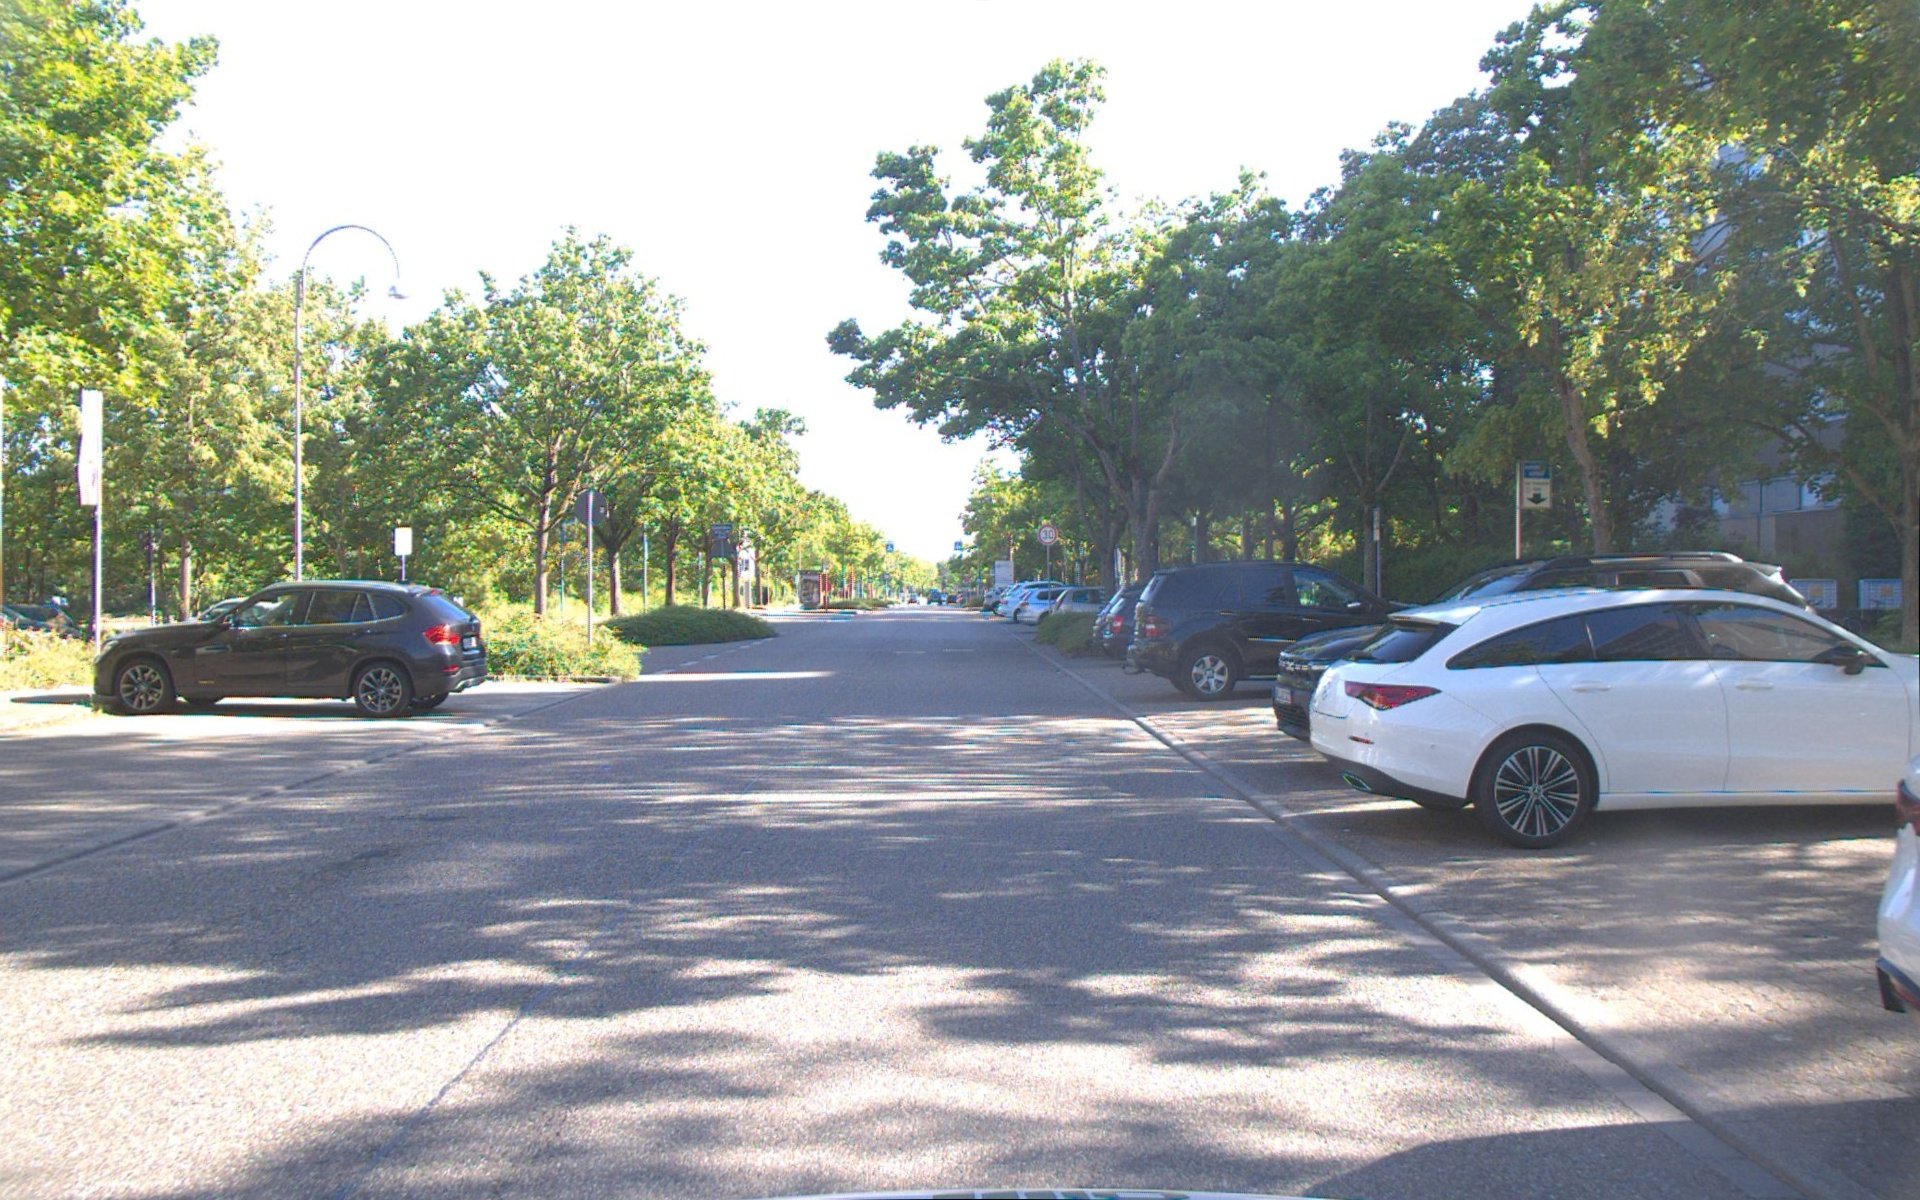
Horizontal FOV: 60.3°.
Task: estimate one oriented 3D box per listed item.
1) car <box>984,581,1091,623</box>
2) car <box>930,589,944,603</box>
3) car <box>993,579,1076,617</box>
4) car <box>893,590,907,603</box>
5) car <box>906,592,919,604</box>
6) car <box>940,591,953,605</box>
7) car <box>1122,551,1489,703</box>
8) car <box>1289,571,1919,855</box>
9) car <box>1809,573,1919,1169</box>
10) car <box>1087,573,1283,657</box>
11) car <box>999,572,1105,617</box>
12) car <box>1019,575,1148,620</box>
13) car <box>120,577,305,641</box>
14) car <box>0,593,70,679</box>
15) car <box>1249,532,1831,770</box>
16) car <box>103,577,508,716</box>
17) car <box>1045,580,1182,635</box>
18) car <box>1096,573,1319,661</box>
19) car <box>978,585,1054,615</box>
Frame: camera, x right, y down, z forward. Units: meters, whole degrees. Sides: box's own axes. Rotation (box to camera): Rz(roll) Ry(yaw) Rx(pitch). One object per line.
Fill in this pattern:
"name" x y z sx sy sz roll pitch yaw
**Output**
"car" 3.179 0.084 68.620 4.256 1.515 1.737 -3 0 -3
"car" -3.295 -0.555 235.828 1.953 2.049 4.000 0 0 0
"car" 3.402 -0.104 76.191 3.615 1.549 1.650 -3 1 -3
"car" -9.004 -0.554 248.148 1.953 1.833 4.000 0 0 0
"car" -6.905 -0.315 239.671 1.791 1.806 3.739 0 0 0
"car" -2.008 -0.292 246.014 1.953 2.049 4.000 0 0 -1
"car" 4.554 0.338 22.318 4.493 1.810 2.000 -2 0 -1
"car" 4.413 0.641 10.229 4.354 1.572 1.816 0 0 -4
"car" 4.784 0.655 4.175 4.339 1.620 1.835 -2 0 -4
"car" 4.620 0.298 34.287 3.734 1.525 1.700 -3 0 -4
"car" 3.952 -0.233 71.331 4.347 1.676 1.815 -3 1 -3
"car" 4.062 -0.071 54.535 4.184 1.453 1.828 0 0 4
"car" -19.301 0.228 42.807 3.993 1.476 1.625 -2 0 0
"car" -20.367 0.757 32.909 4.235 1.648 1.893 -2 0 0
"car" 4.546 0.388 13.344 4.036 1.646 1.733 -2 -1 -3
"car" -7.710 0.530 19.750 4.106 1.546 1.772 0 0 0
"car" 4.602 0.212 49.935 3.906 1.476 1.717 -2 1 -1
"car" 4.664 0.309 31.505 3.906 1.411 1.822 -3 0 -1
"car" 3.123 -0.007 92.985 4.080 1.453 2.000 -3 0 -1
